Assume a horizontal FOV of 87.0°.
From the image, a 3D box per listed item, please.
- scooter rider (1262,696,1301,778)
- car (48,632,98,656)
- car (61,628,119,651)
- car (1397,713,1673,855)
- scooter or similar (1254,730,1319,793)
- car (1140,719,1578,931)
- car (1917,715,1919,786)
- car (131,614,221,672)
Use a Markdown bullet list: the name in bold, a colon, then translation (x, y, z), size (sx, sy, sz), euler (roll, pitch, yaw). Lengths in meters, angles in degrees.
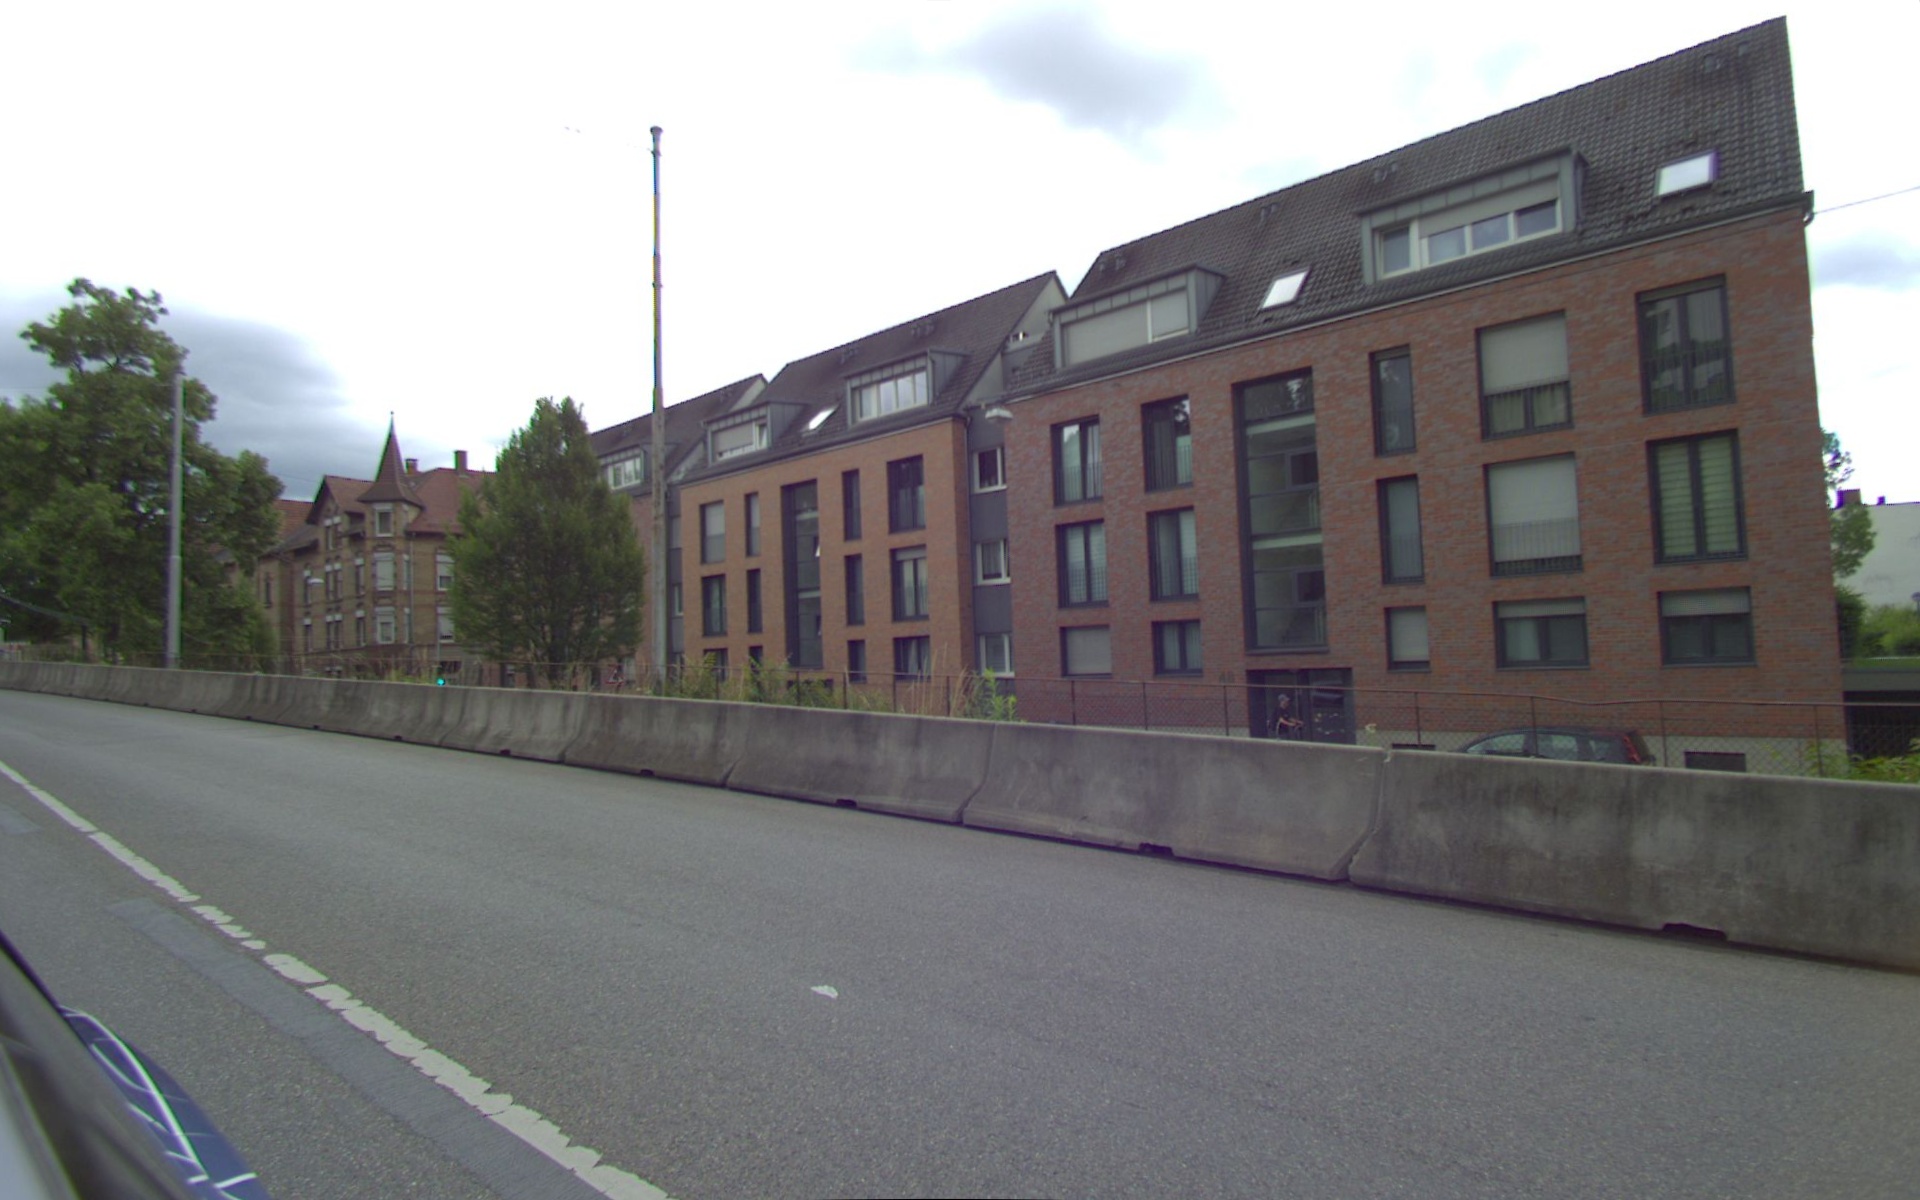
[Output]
- **scooter rider**: translation (6.959, 2.951, 21.921), size (0.577, 1.718, 0.482), euler (-5, -3, 41)
- **car**: translation (-60.470, 2.997, 69.004), size (3.997, 1.564, 1.973), euler (-2, -2, 40)
- **car**: translation (-52.410, 2.397, 60.963), size (3.997, 1.364, 1.973), euler (-2, -3, 40)
- **car**: translation (9.639, 2.979, 17.122), size (3.765, 1.815, 1.696), euler (-2, -2, 41)
- **scooter or similar**: translation (7.046, 3.473, 21.852), size (1.226, 1.251, 0.374), euler (-4, -3, 41)
- **car**: translation (4.041, 2.167, 10.632), size (3.995, 1.525, 1.519), euler (-2, -2, 39)
- **car**: translation (11.392, 1.933, 8.733), size (4.421, 1.525, 1.808), euler (-2, -2, 41)
- **car**: translation (-37.743, 1.973, 48.675), size (5.735, 2.601, 2.531), euler (-1, 0, 43)
